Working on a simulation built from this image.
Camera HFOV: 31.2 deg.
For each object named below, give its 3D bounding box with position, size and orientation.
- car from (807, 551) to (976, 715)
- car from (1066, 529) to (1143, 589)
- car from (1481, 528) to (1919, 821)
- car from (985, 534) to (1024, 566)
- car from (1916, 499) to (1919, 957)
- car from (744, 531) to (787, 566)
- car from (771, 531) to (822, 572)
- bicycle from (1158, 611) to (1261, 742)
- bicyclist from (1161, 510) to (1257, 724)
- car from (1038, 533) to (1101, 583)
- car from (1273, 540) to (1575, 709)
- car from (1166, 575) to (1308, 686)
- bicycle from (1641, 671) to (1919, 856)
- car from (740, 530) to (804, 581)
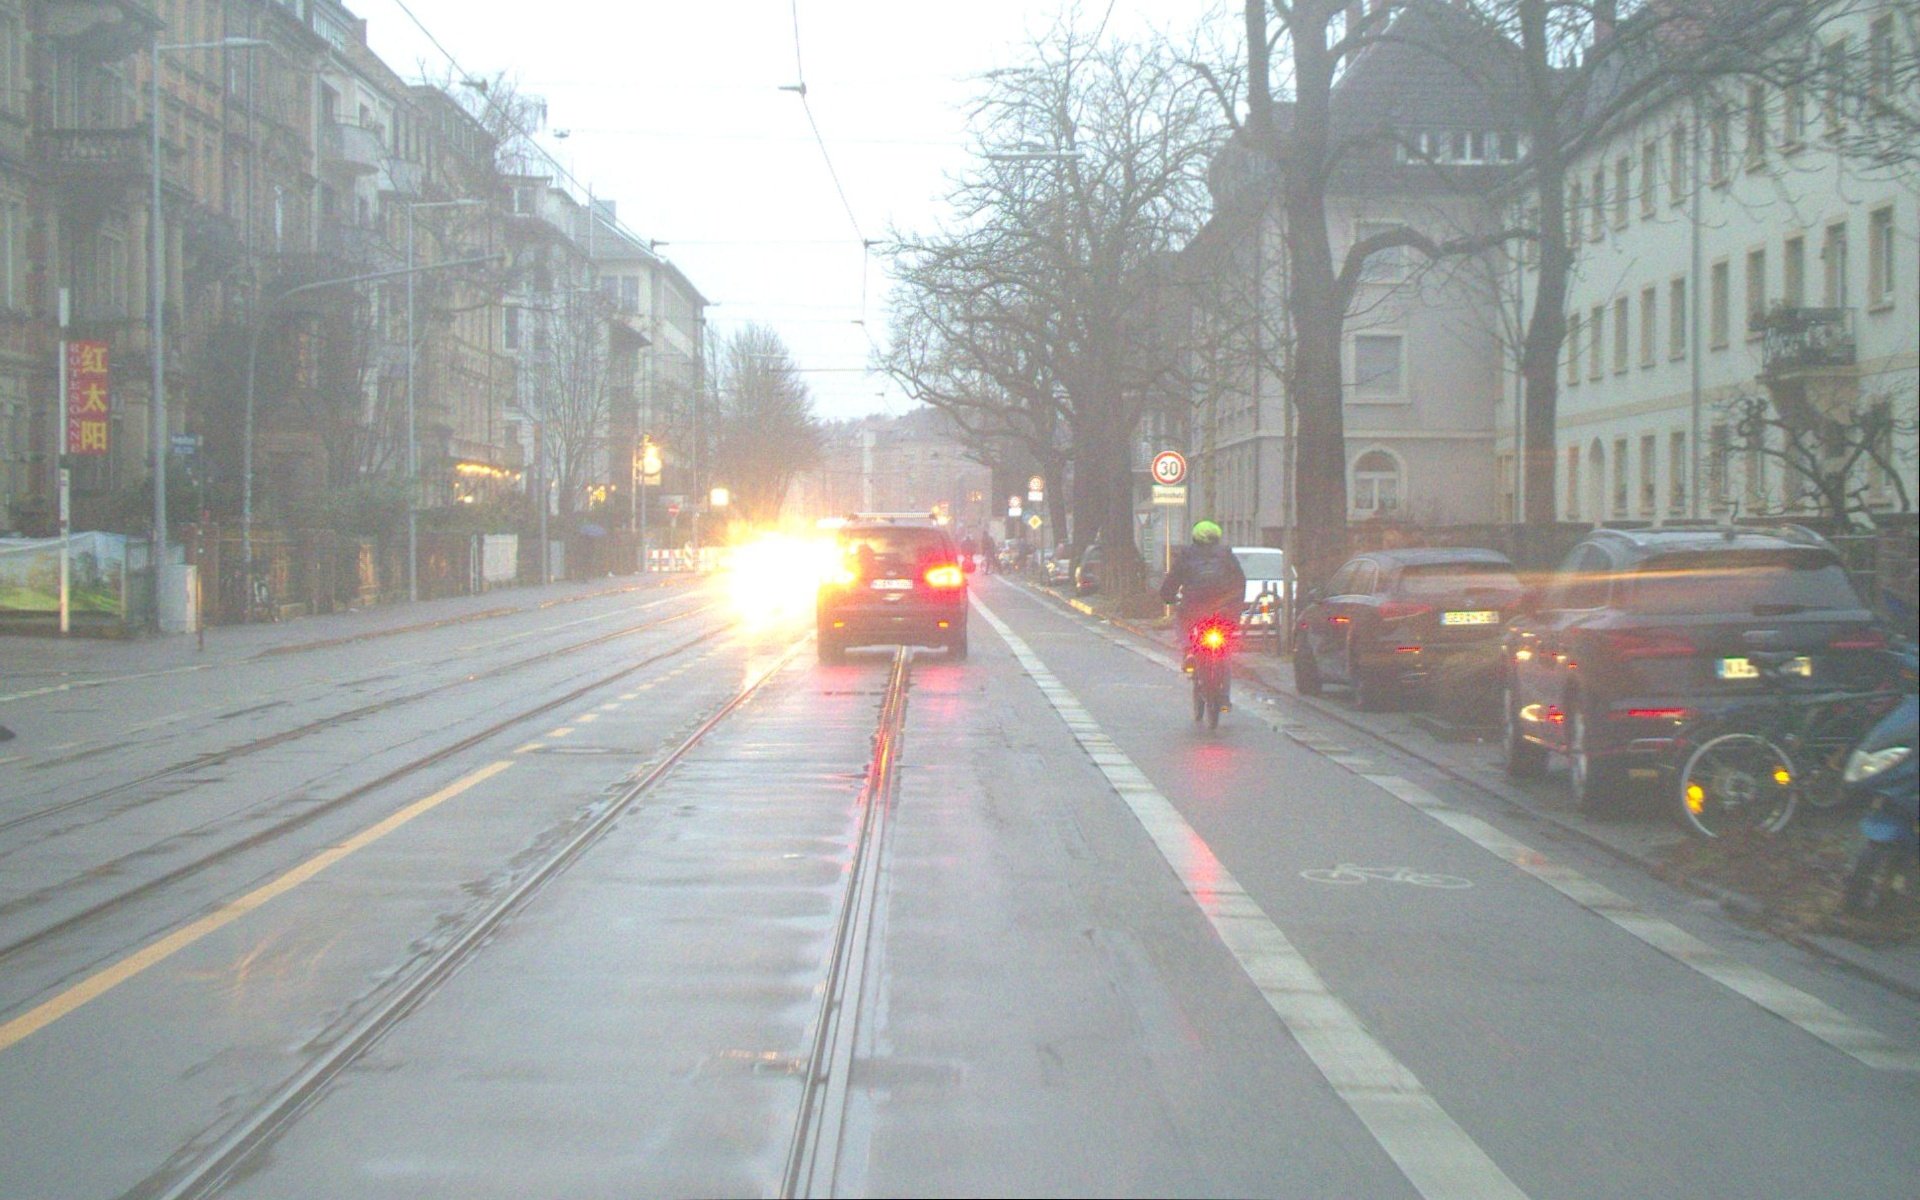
[{"bbox_3d":[-0.817,0.372,43.345,1.802,1.864,4.018,3,1,2],"label":"car"},{"bbox_3d":[3.683,-1.063,88.234,1.785,1.504,4.109,0,1,0],"label":"car"},{"bbox_3d":[4.479,0.364,21.157,1.905,1.604,4.561,0,1,1],"label":"car"},{"bbox_3d":[2.120,-2.399,164.841,1.785,1.504,4.109,0,1,0],"label":"car"},{"bbox_3d":[4.574,0.517,10.386,1.905,1.721,4.903,0,1,-1],"label":"car"},{"bbox_3d":[-9.498,-2.521,168.351,1.923,1.714,4.000,0,1,-1],"label":"car"},{"bbox_3d":[-6.743,-2.005,142.088,1.923,1.656,4.000,0,1,-1],"label":"car"},{"bbox_3d":[2.048,0.618,28.425,0.731,1.003,1.764,1,1,1],"label":"bicycle"},{"bbox_3d":[2.047,0.132,28.338,0.730,1.730,0.765,1,1,1],"label":"bicyclist"},{"bbox_3d":[3.366,-1.325,106.260,1.785,1.504,4.109,0,1,0],"label":"car"},{"bbox_3d":[4.251,0.174,32.180,1.878,1.415,4.345,-1,1,-5],"label":"car"},{"bbox_3d":[4.021,0.411,50.417,1.785,1.504,4.108,0,1,1],"label":"car"},{"bbox_3d":[4.541,0.834,17.662,2.014,0.913,0.464,0,1,8],"label":"bicycle"},{"bbox_3d":[-6.185,-1.483,113.616,1.923,1.656,4.000,0,1,-1],"label":"car"}]
